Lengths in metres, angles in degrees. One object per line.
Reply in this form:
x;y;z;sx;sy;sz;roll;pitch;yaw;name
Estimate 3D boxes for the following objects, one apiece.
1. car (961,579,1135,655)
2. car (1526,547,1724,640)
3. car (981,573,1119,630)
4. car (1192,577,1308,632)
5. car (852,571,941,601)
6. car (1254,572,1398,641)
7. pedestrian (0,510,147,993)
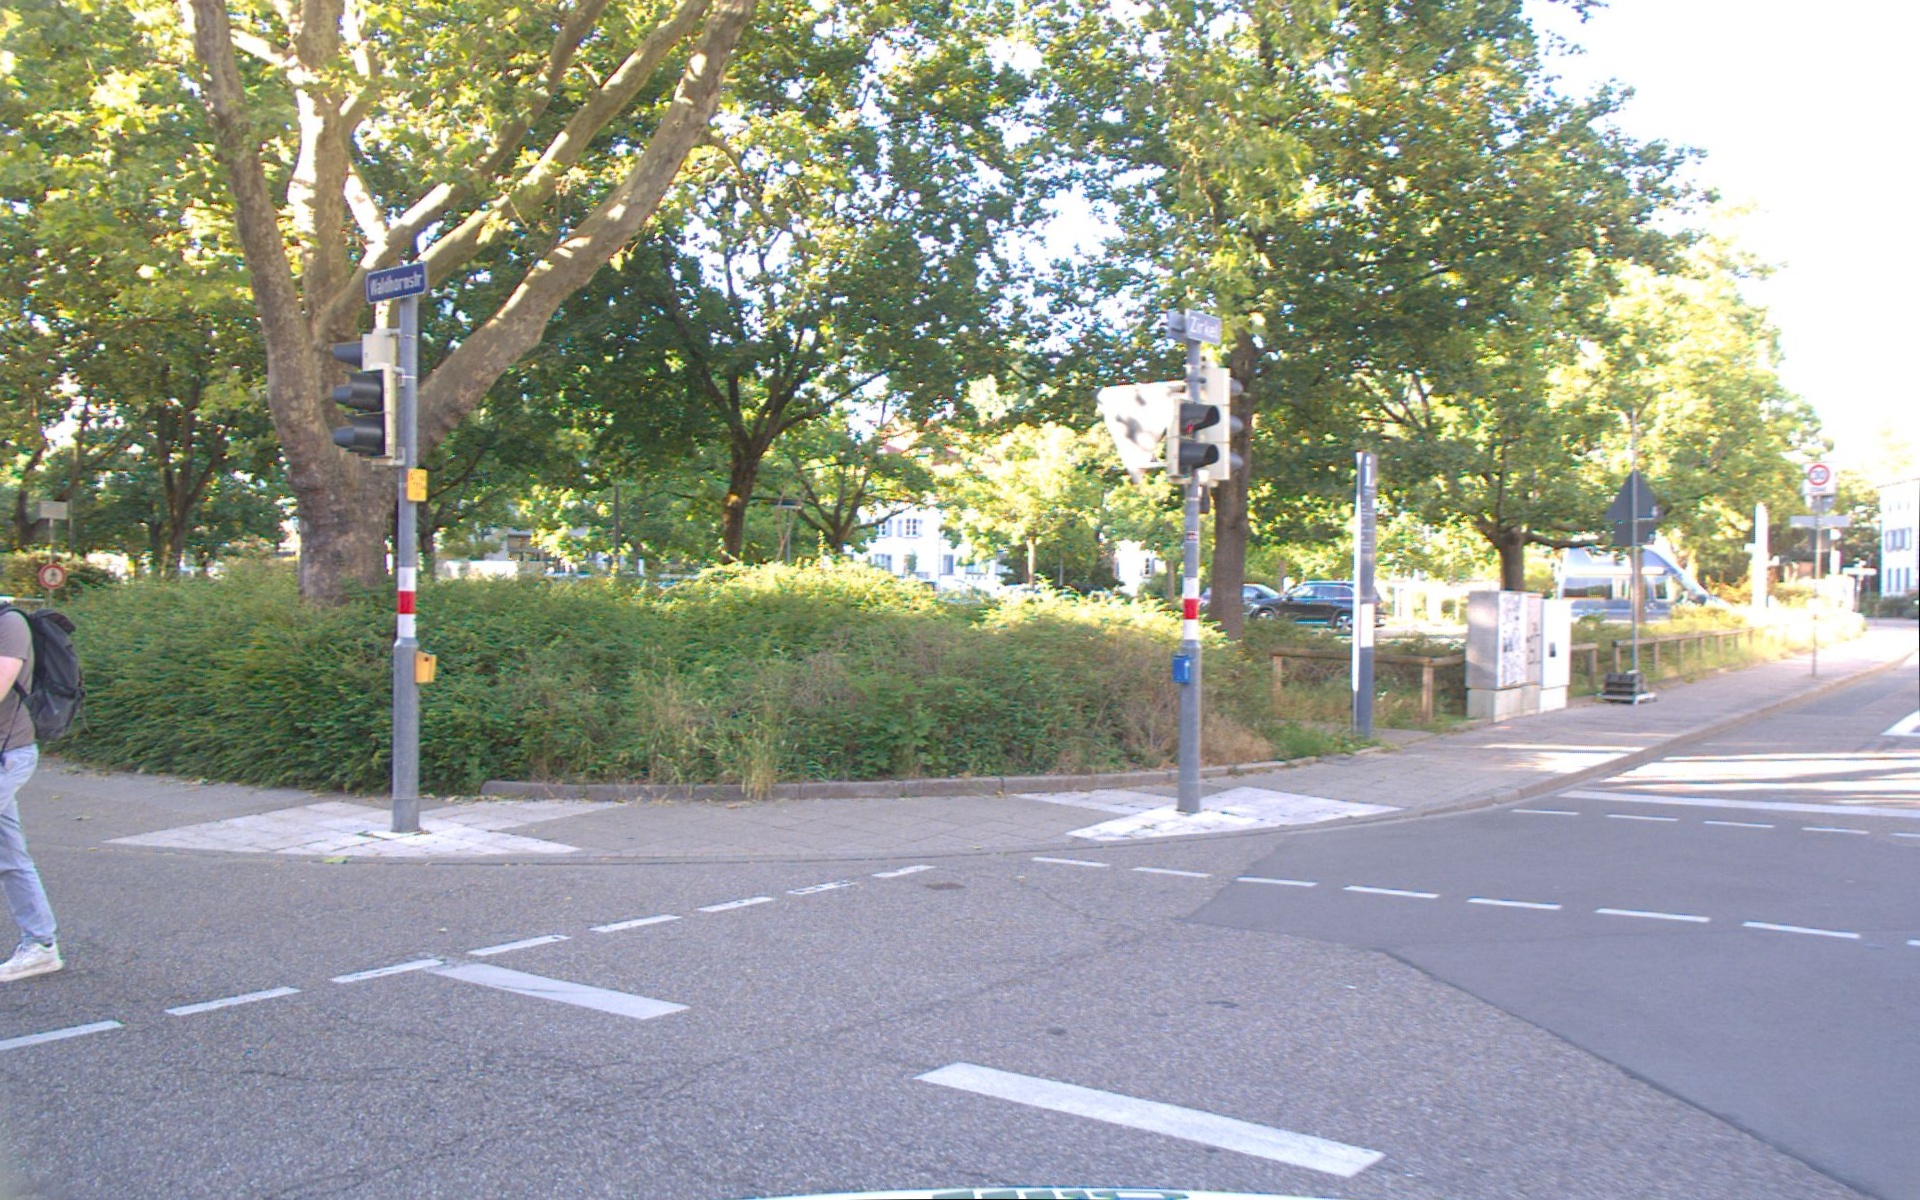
2.255;0.392;42.813;4.225;1.843;1.781;1;1;36;car
19.441;-0.226;48.480;5.056;2.617;1.993;1;1;36;car
2.817;0.053;51.923;3.923;1.654;1.916;2;0;38;car
11.235;0.167;64.192;3.965;1.981;1.917;2;0;36;car
-3.462;-0.749;89.380;4.567;1.501;2.005;2;0;38;car
11.956;0.193;54.102;4.226;2.125;1.781;1;1;36;car
-3.776;0.557;6.484;0.877;1.803;0.736;1;1;-43;pedestrian
